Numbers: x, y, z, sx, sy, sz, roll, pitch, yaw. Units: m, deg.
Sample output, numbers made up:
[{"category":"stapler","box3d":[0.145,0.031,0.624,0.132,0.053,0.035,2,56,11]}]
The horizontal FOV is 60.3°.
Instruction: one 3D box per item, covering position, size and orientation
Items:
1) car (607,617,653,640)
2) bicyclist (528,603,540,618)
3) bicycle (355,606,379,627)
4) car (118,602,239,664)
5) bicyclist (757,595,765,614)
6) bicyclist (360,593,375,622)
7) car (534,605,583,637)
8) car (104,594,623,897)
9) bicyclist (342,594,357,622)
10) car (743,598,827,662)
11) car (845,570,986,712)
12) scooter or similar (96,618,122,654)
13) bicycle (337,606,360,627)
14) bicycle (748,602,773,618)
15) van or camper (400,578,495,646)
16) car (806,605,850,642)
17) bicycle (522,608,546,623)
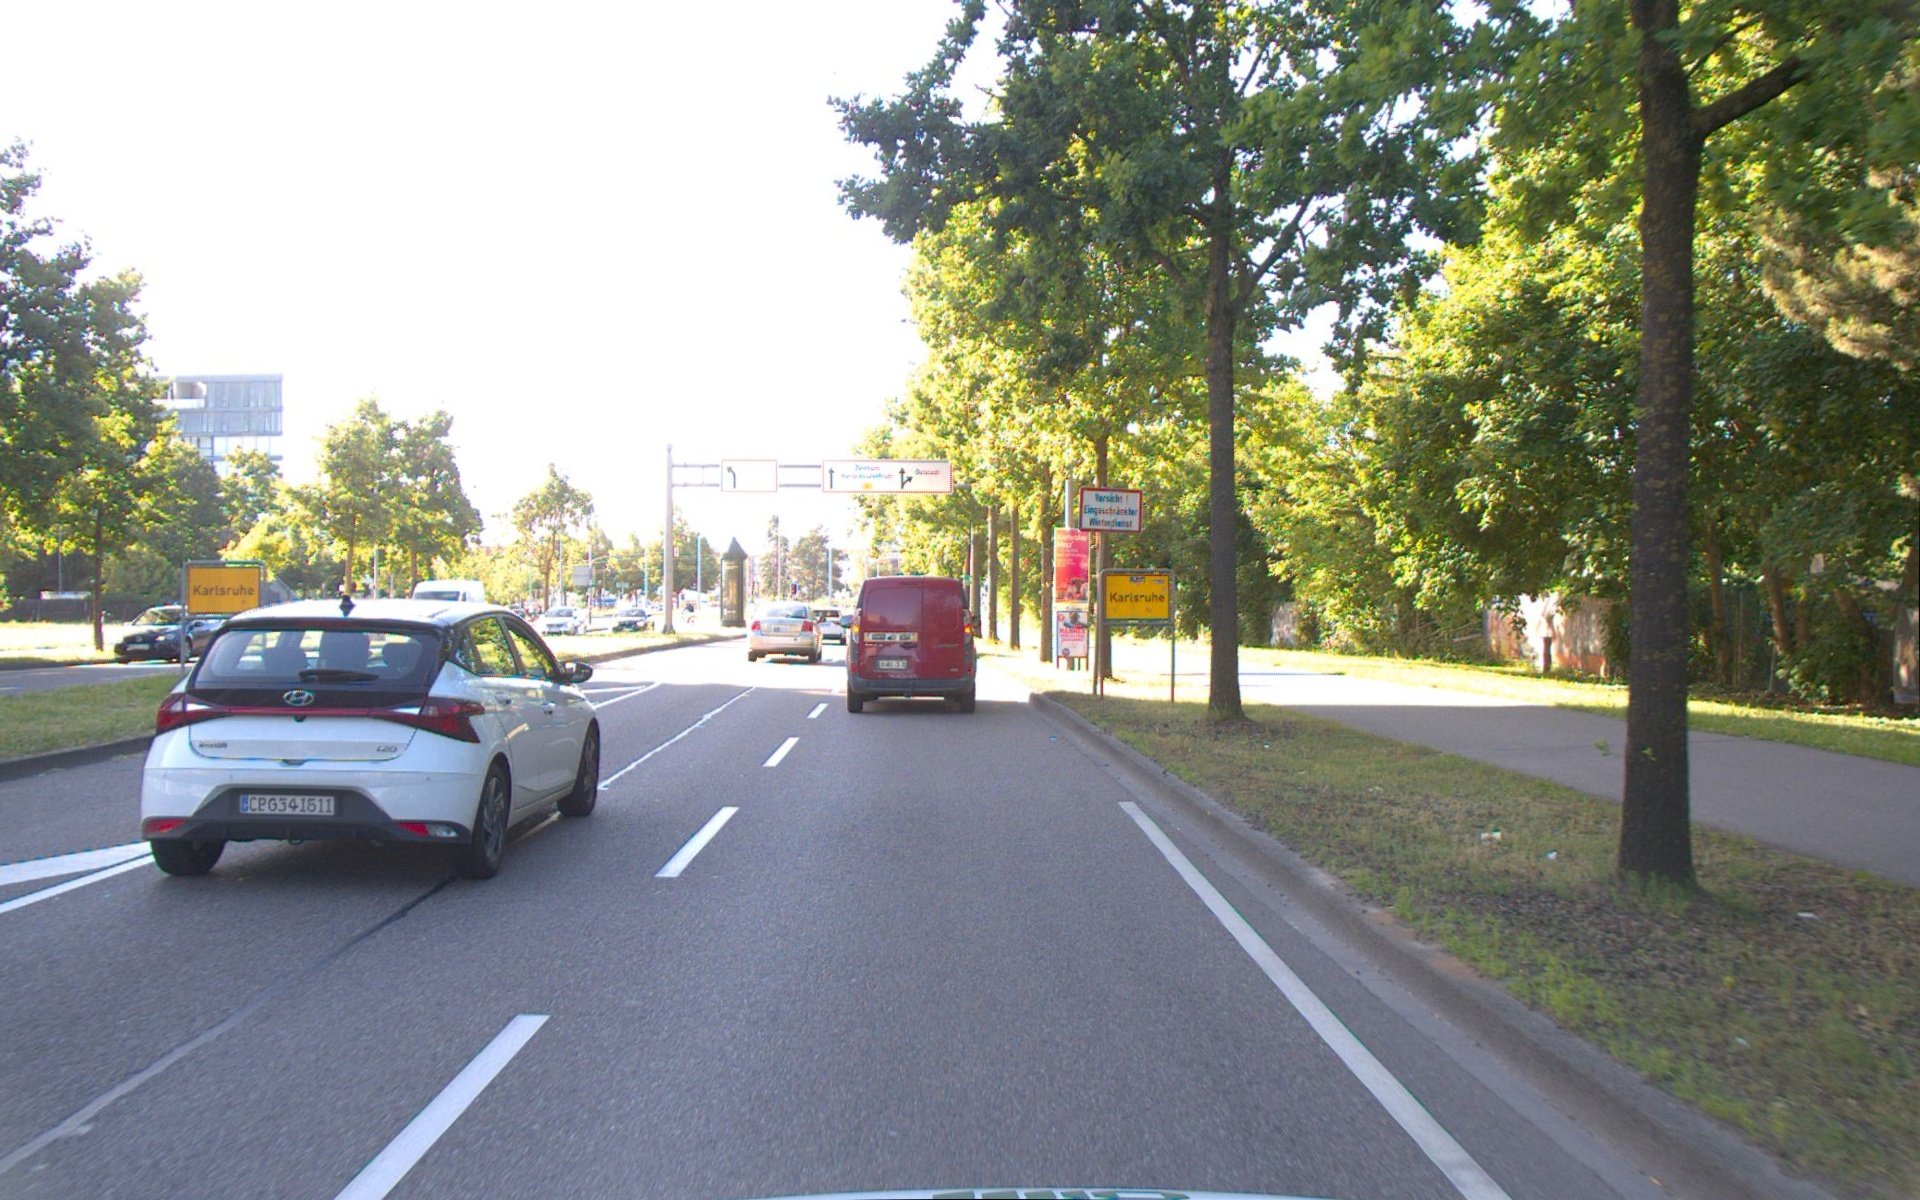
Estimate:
[{"category":"car","box3d":[-16.722,1.437,83.935,1.792,1.131,4.170,0,0,-4]},{"category":"bicyclist","box3d":[-33.609,0.832,130.560,0.719,1.126,0.605,0,-1,10]},{"category":"bicycle","box3d":[-29.490,0.803,82.249,0.559,1.021,2.095,0,-1,-3]},{"category":"car","box3d":[-20.662,0.841,43.881,1.520,1.534,4.023,0,0,-4]},{"category":"bicyclist","box3d":[-15.647,0.365,130.262,0.591,1.494,0.517,0,-1,-4]},{"category":"bicyclist","box3d":[-29.493,0.376,82.340,0.551,1.417,0.747,0,-1,-4]},{"category":"car","box3d":[-19.506,1.008,80.429,1.655,1.502,4.046,0,0,-4]},{"category":"car","box3d":[-3.270,0.692,9.973,1.742,1.433,4.073,1,0,-2]},{"category":"bicyclist","box3d":[-30.472,0.399,82.513,0.472,1.419,0.844,0,-1,-4]},{"category":"car","box3d":[-4.365,0.722,41.716,1.804,1.482,4.160,1,0,-2]},{"category":"car","box3d":[-0.664,0.528,23.298,1.770,1.790,4.003,1,0,-3]},{"category":"scooter or similar","box3d":[-28.125,1.174,54.662,0.226,1.169,1.327,0,-1,-2]},{"category":"bicycle","box3d":[-30.465,0.826,82.460,0.477,1.021,2.095,0,-1,-3]},{"category":"bicycle","box3d":[-15.705,0.784,130.253,1.920,1.187,0.517,0,-1,-4]},{"category":"van or camper","box3d":[-19.500,0.430,63.201,1.954,2.410,5.990,-1,0,-3]},{"category":"car","box3d":[-5.169,0.915,65.163,1.628,1.422,3.557,0,0,-3]},{"category":"bicycle","box3d":[-33.622,1.223,130.558,1.690,1.126,0.605,0,-1,10]}]
